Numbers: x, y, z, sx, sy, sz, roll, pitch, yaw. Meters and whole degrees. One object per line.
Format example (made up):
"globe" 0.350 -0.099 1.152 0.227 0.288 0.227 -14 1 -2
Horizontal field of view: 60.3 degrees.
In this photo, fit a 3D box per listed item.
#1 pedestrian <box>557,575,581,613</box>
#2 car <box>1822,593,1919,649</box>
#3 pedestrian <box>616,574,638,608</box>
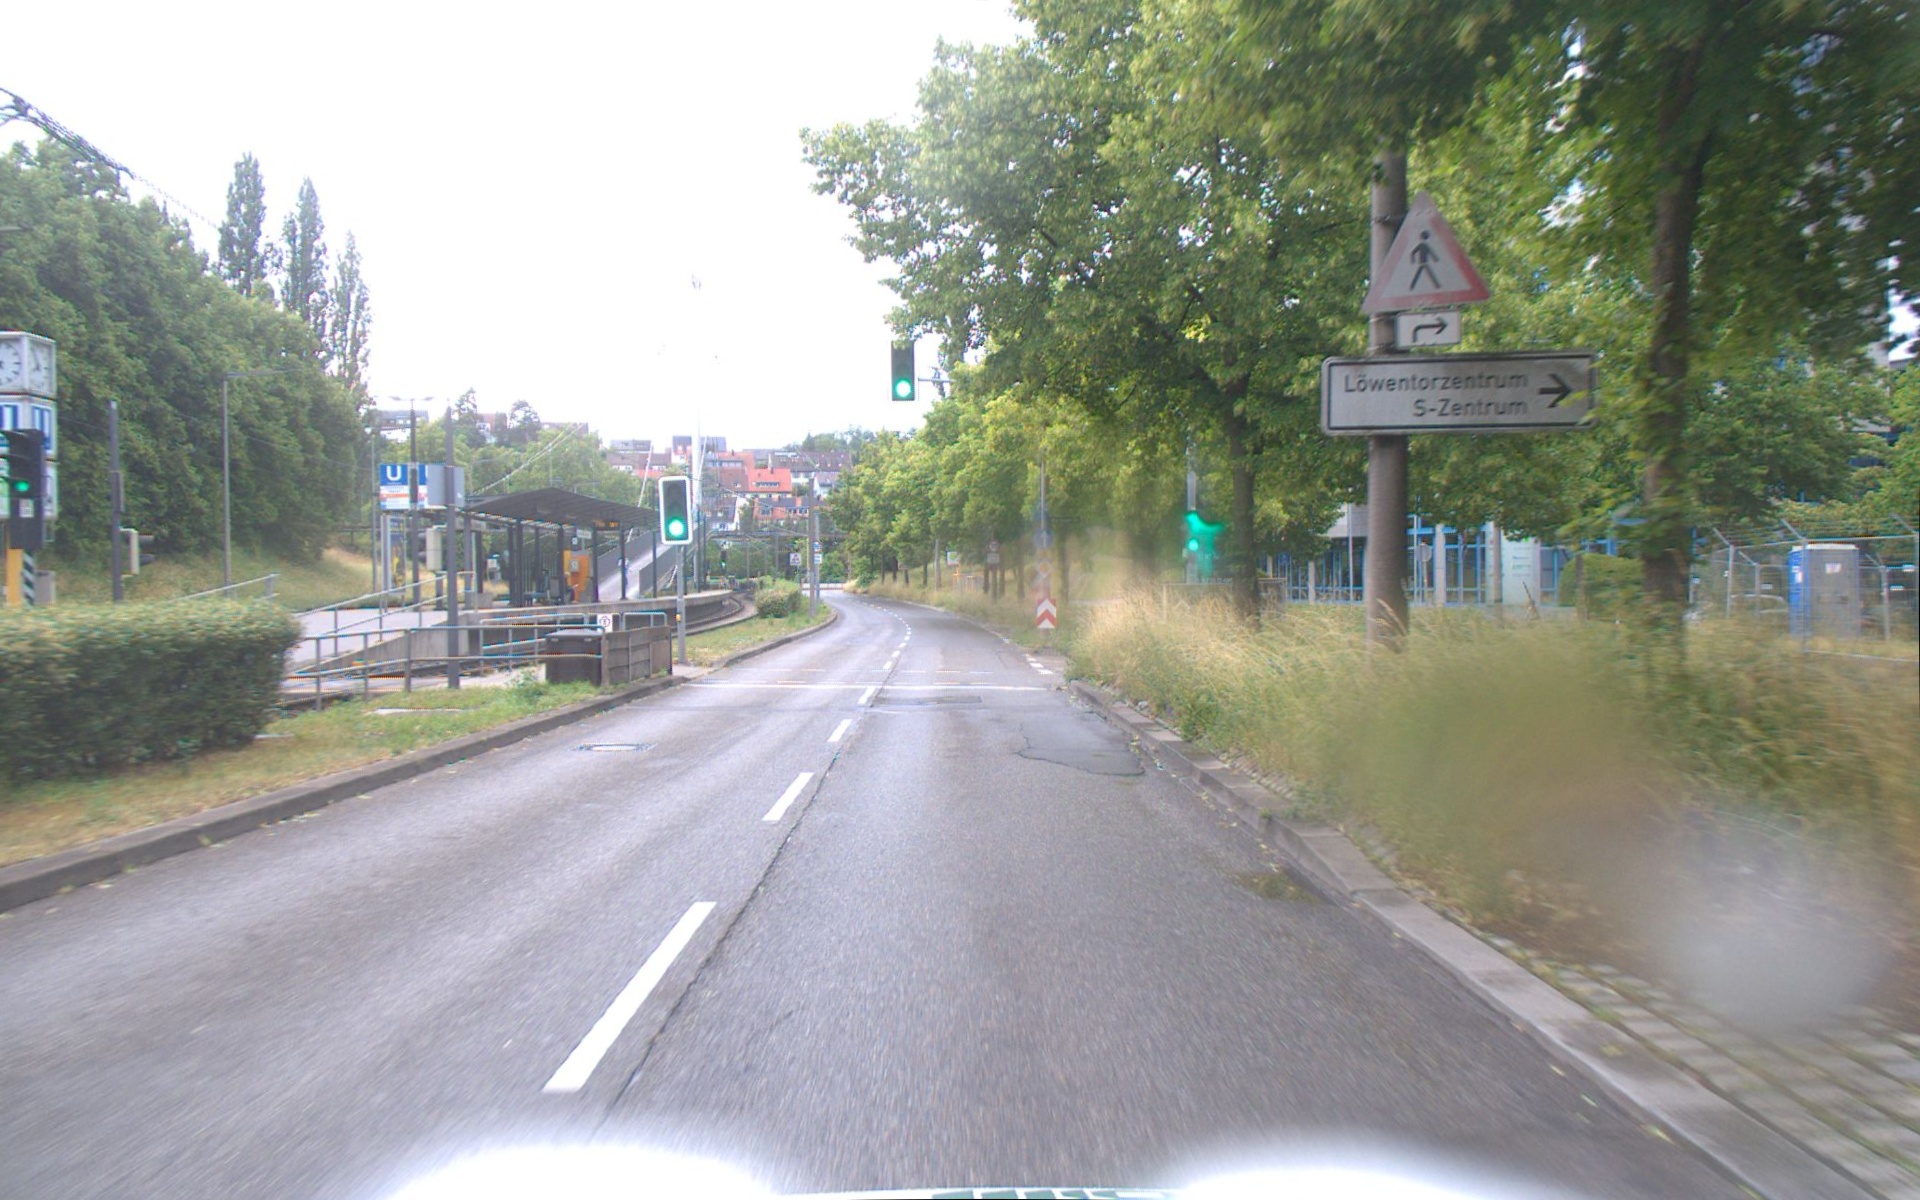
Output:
"pedestrian" -14.320 -0.208 60.576 0.738 1.379 0.691 0 0 -5
"car" 28.999 0.629 50.899 4.010 1.606 1.759 0 2 4
"pedestrian" -15.946 -0.436 79.278 0.916 1.639 1.026 0 0 -5
